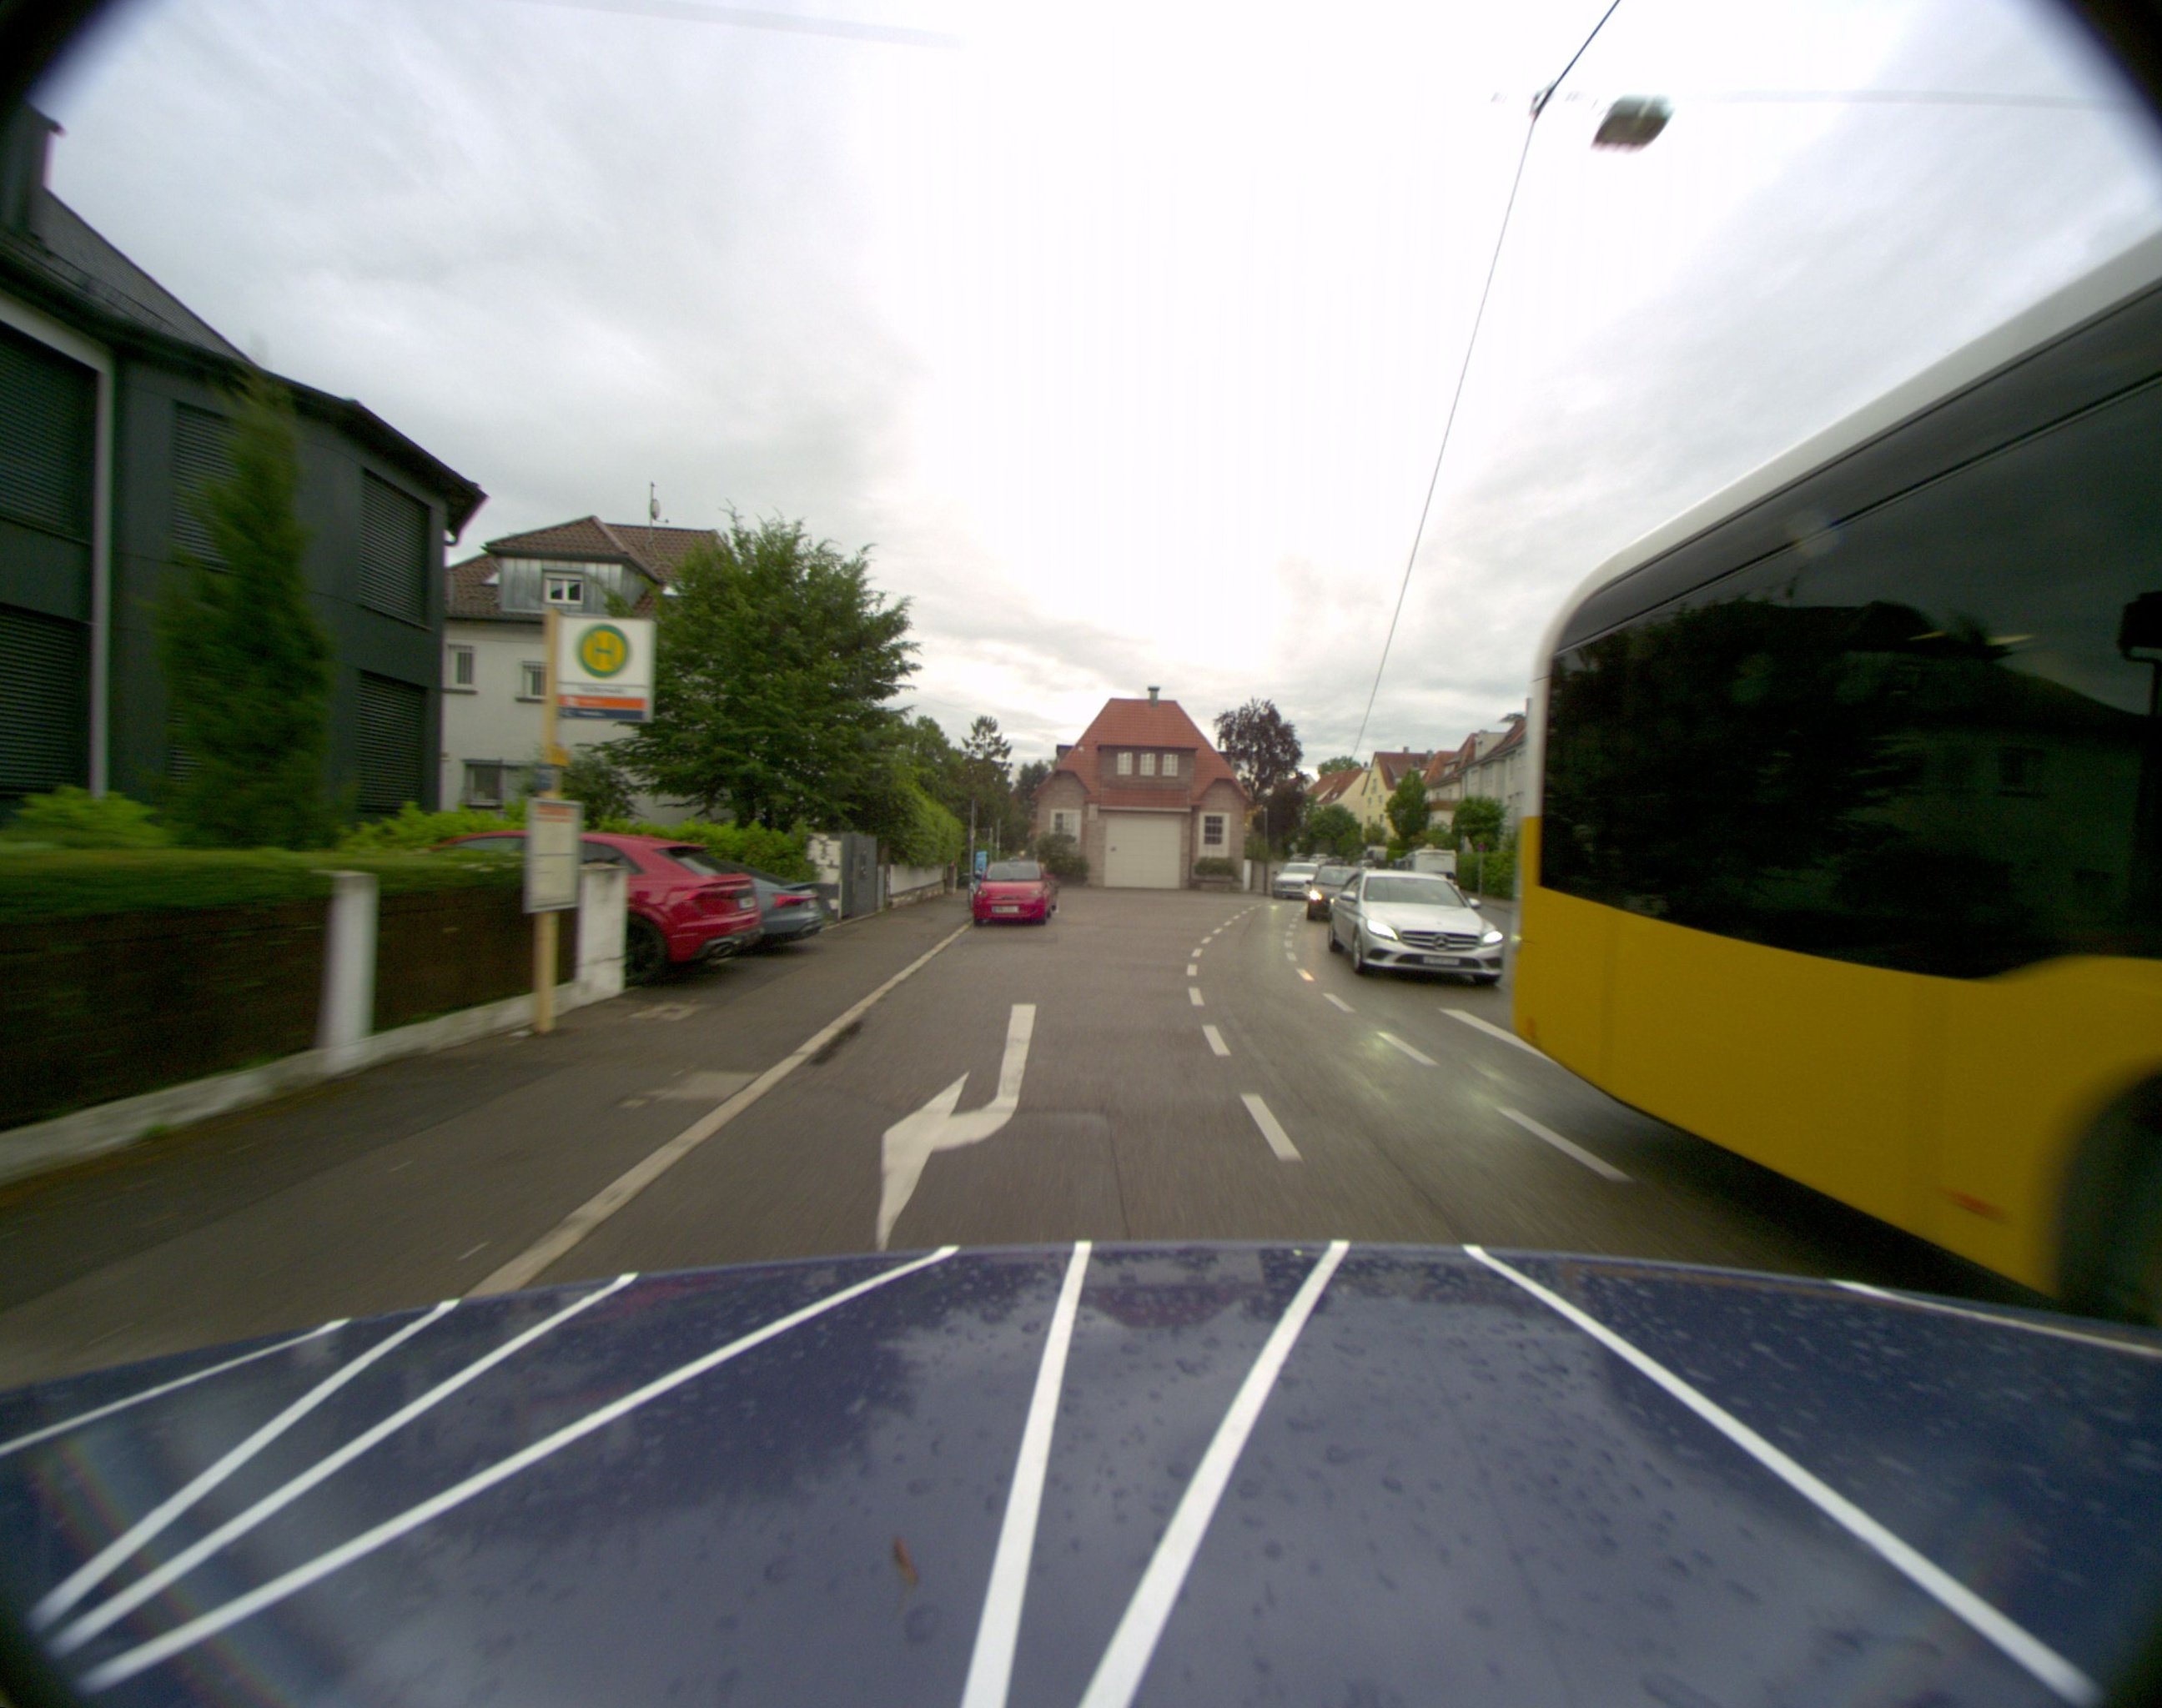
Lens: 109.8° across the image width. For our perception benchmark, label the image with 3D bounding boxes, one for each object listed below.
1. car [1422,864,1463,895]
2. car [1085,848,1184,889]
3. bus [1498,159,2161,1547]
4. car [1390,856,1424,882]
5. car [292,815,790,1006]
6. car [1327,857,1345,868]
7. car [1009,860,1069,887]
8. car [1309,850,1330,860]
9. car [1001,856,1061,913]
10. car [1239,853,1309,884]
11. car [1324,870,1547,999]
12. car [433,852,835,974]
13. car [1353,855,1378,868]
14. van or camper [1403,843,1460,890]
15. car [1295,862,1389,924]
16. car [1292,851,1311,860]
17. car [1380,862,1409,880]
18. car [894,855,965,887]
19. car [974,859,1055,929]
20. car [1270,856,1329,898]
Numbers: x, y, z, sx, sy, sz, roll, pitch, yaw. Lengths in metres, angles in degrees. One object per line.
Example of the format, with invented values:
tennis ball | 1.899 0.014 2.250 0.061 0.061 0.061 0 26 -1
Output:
car | 20.479 1.395 43.096 1.596 1.585 3.322 2 1 18
car | 2.892 0.726 41.068 4.911 1.936 1.943 2 1 18
bus | 3.929 -0.001 0.424 2.683 3.378 8.681 2 0 2
car | 26.308 1.166 61.438 1.834 1.976 4.586 1 1 14
car | -5.757 0.605 8.667 4.086 1.740 1.999 3 0 -7
car | 32.928 1.136 98.208 1.678 1.364 3.443 1 0 10
car | -2.320 1.127 42.744 3.266 1.431 1.324 0 -4 0
car | 33.693 0.109 107.428 1.679 1.364 4.437 4 0 1
car | -1.547 0.913 24.529 1.749 1.662 4.647 1 0 -2
car | 14.277 1.033 56.219 4.735 1.799 1.945 5 2 18
car | 5.039 1.023 11.544 1.996 1.470 4.491 2 -1 11
car | -6.185 0.813 11.085 4.562 1.408 1.999 3 0 -7
car | 31.439 0.857 84.045 1.678 1.364 3.442 1 0 5
van or camper | 22.147 0.731 48.300 2.350 2.709 6.124 2 1 16
car | 7.259 0.992 20.899 1.895 1.455 3.688 1 1 27
car | 34.140 0.229 117.687 1.679 1.364 4.437 1 0 1
car | 28.079 1.479 68.163 1.677 1.364 4.515 1 1 12
car | -9.102 1.012 45.879 3.998 1.849 1.771 1 0 -2
car | -1.532 0.901 18.653 1.615 1.528 3.541 1 0 1
car | 9.666 0.965 33.456 1.792 1.689 3.898 1 0 27
